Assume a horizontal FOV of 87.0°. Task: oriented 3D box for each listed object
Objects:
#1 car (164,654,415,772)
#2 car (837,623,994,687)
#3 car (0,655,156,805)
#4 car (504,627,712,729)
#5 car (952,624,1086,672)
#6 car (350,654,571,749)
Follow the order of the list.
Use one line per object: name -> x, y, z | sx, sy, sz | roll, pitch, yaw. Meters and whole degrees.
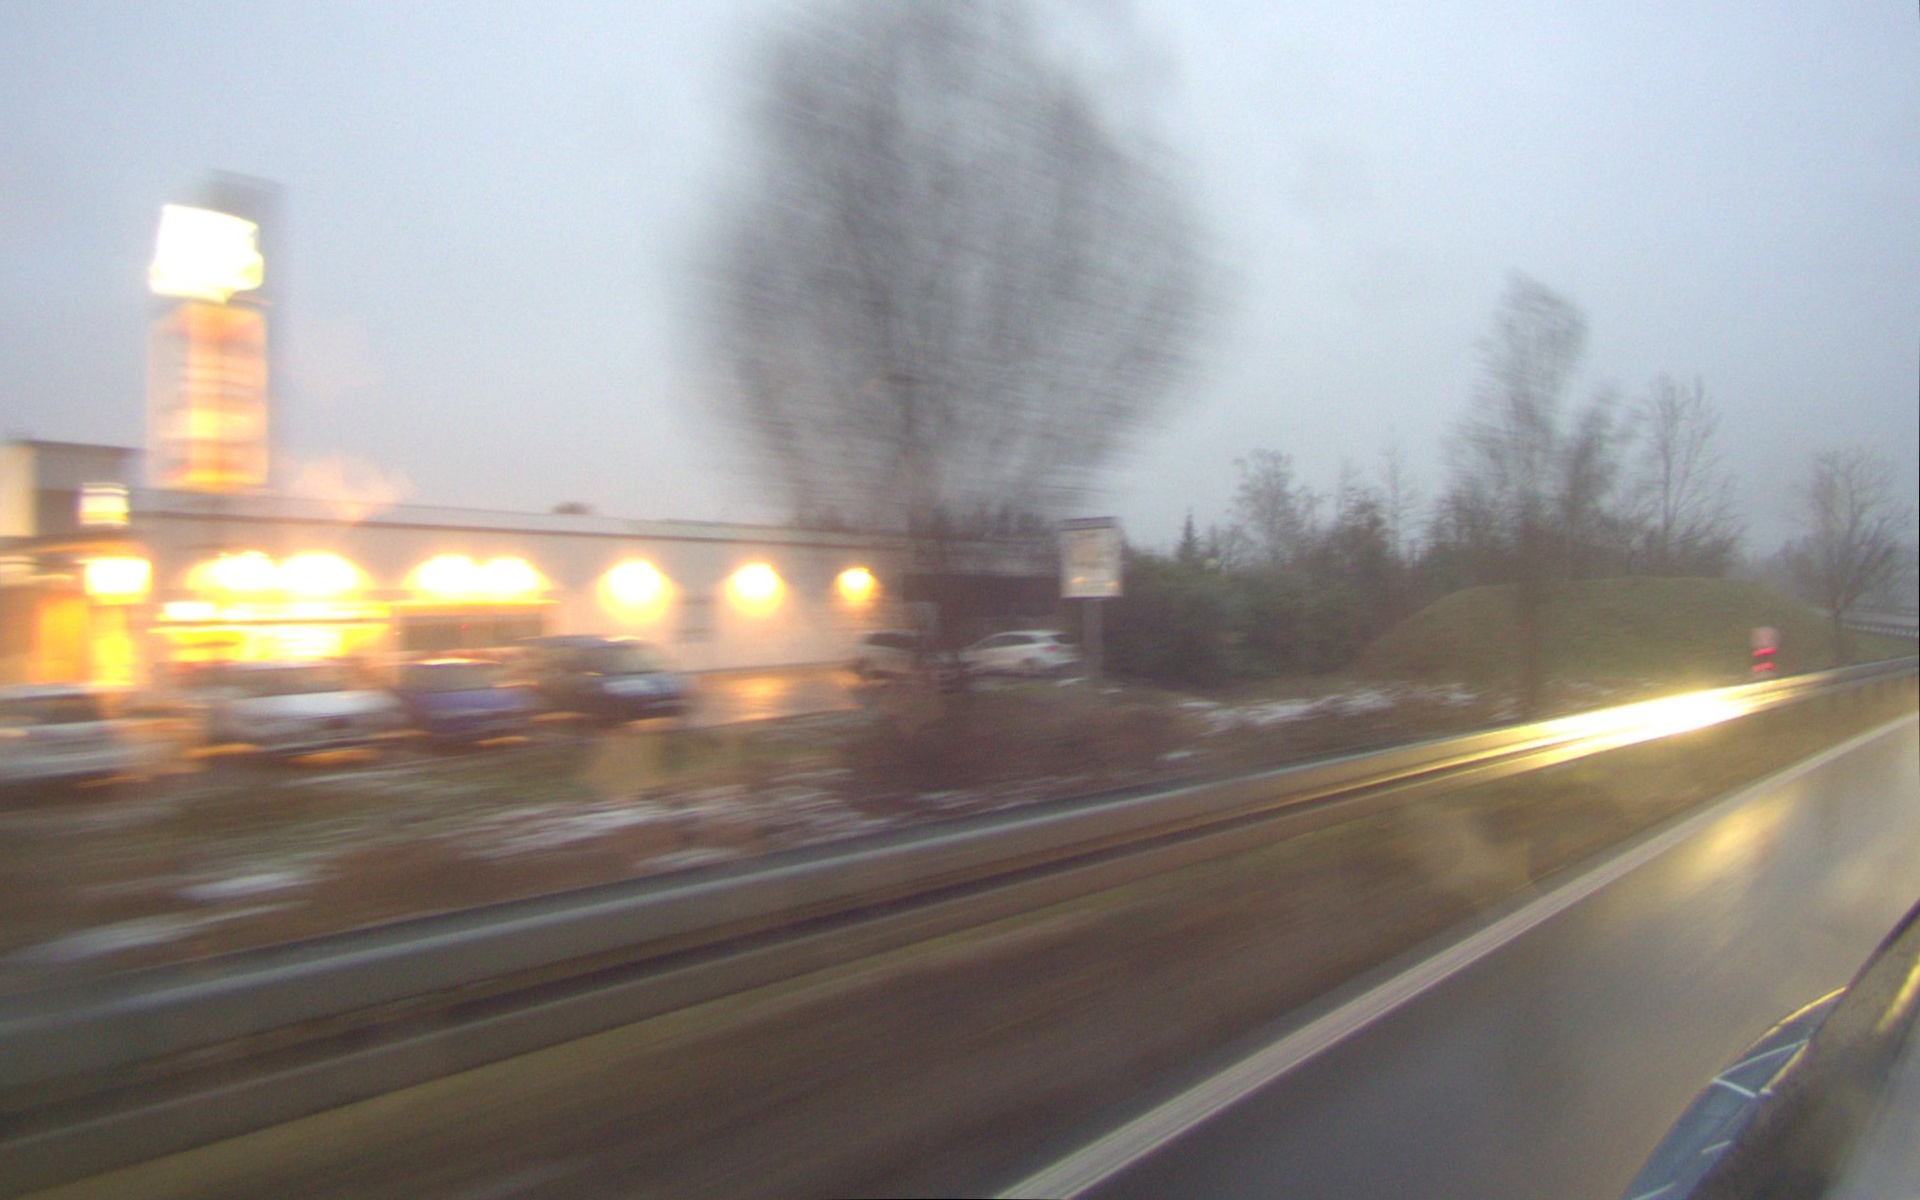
car -> -11.127, 1.749, 16.745 | 4.229, 1.651, 1.976 | -2, -2, 33
car -> -1.346, 1.556, 29.536 | 4.383, 1.737, 1.972 | -2, -2, 39
car -> -12.876, 1.692, 14.160 | 4.119, 1.439, 1.640 | 3, 3, 38
car -> -7.414, 1.532, 21.236 | 4.230, 1.878, 1.976 | 0, -1, 33
car -> 1.965, 1.613, 34.377 | 4.166, 1.537, 1.973 | -2, -3, 37
car -> -9.175, 1.769, 18.534 | 3.847, 1.496, 1.976 | -2, -2, 33
